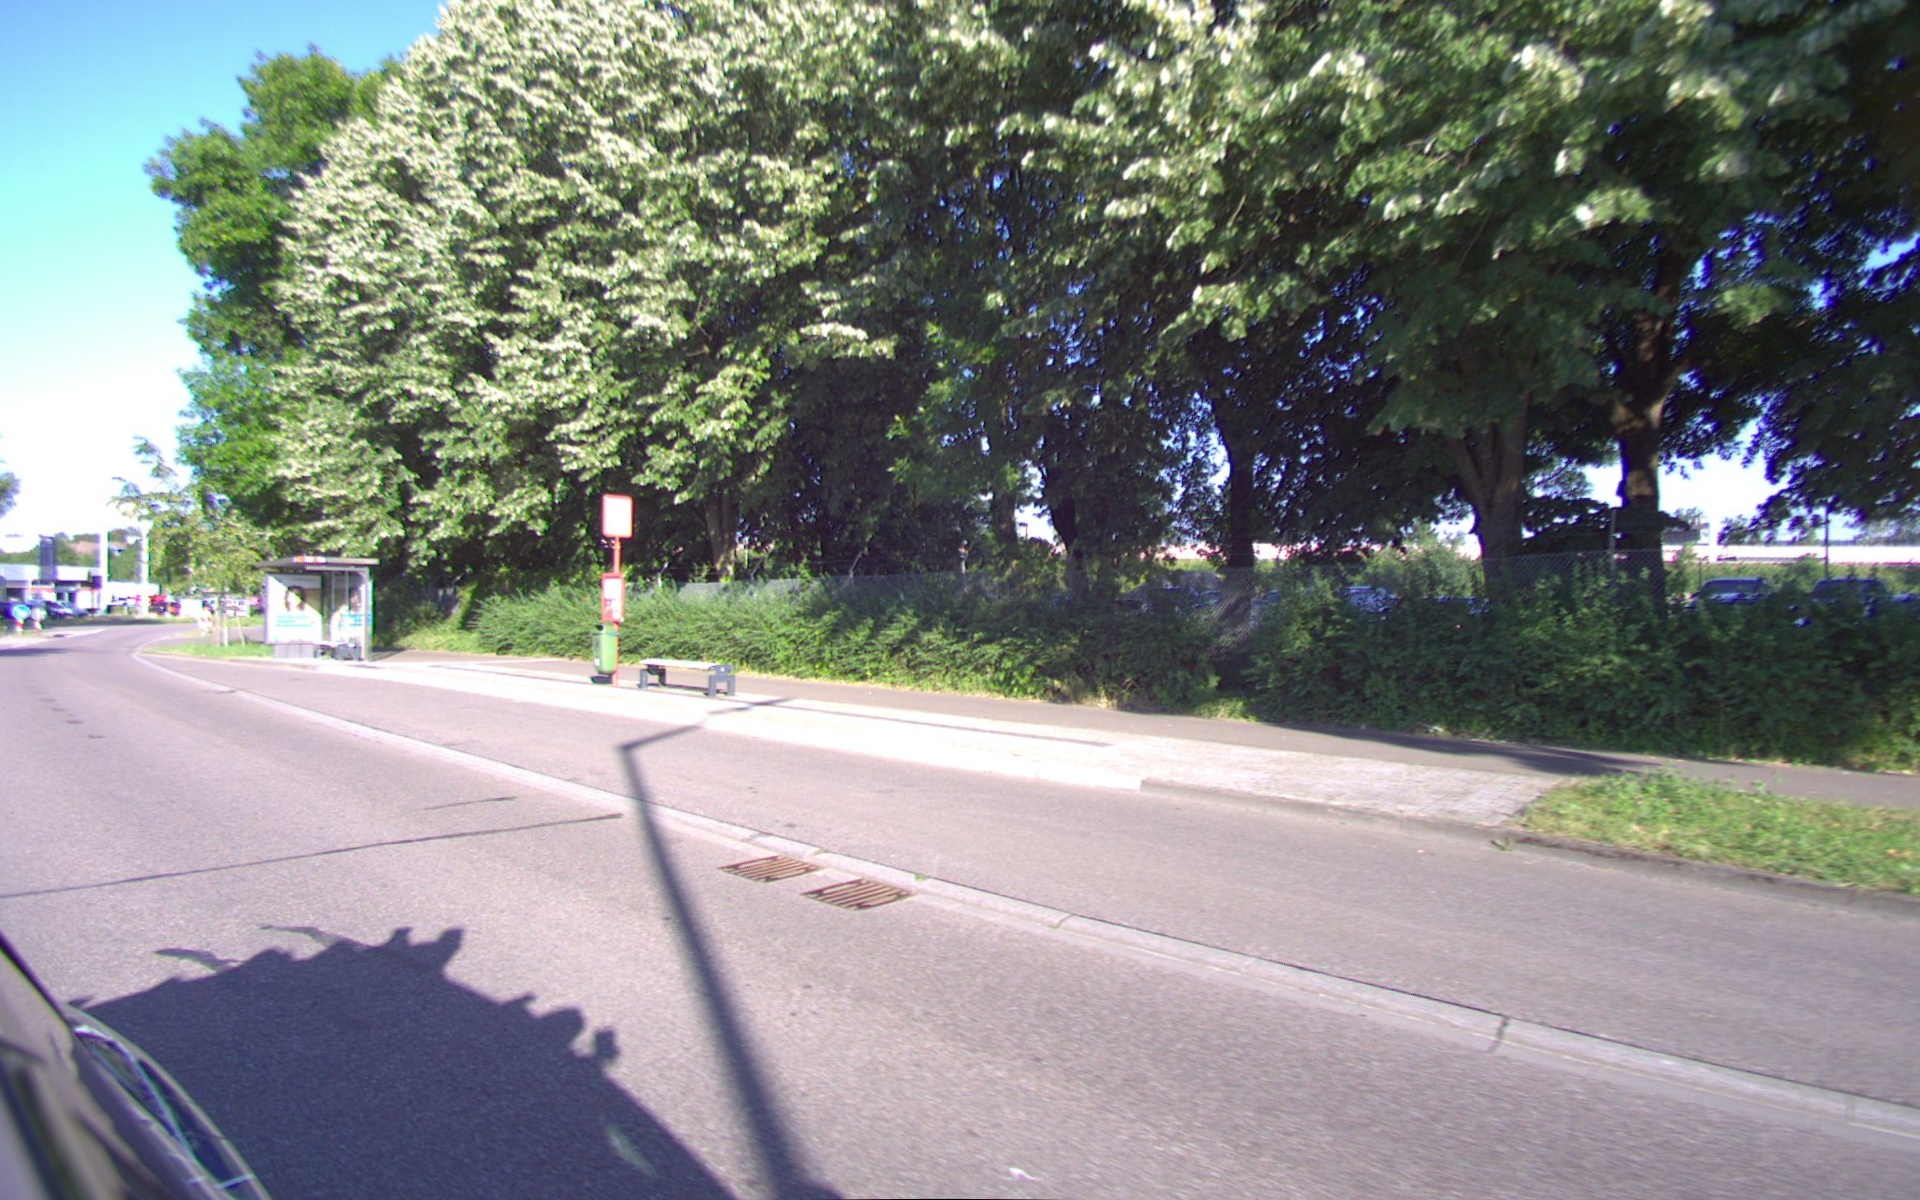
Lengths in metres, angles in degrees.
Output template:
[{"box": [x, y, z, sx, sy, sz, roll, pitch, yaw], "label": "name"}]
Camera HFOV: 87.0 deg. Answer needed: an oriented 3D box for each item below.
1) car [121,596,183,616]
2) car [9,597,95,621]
[{"box": [-83.681, 0.674, 104.818, 4.788, 2.029, 2.295, 0, -1, 7], "label": "car"}, {"box": [-80.722, 0.796, 90.015, 5.205, 2.029, 2.410, 0, -1, -9], "label": "car"}]
